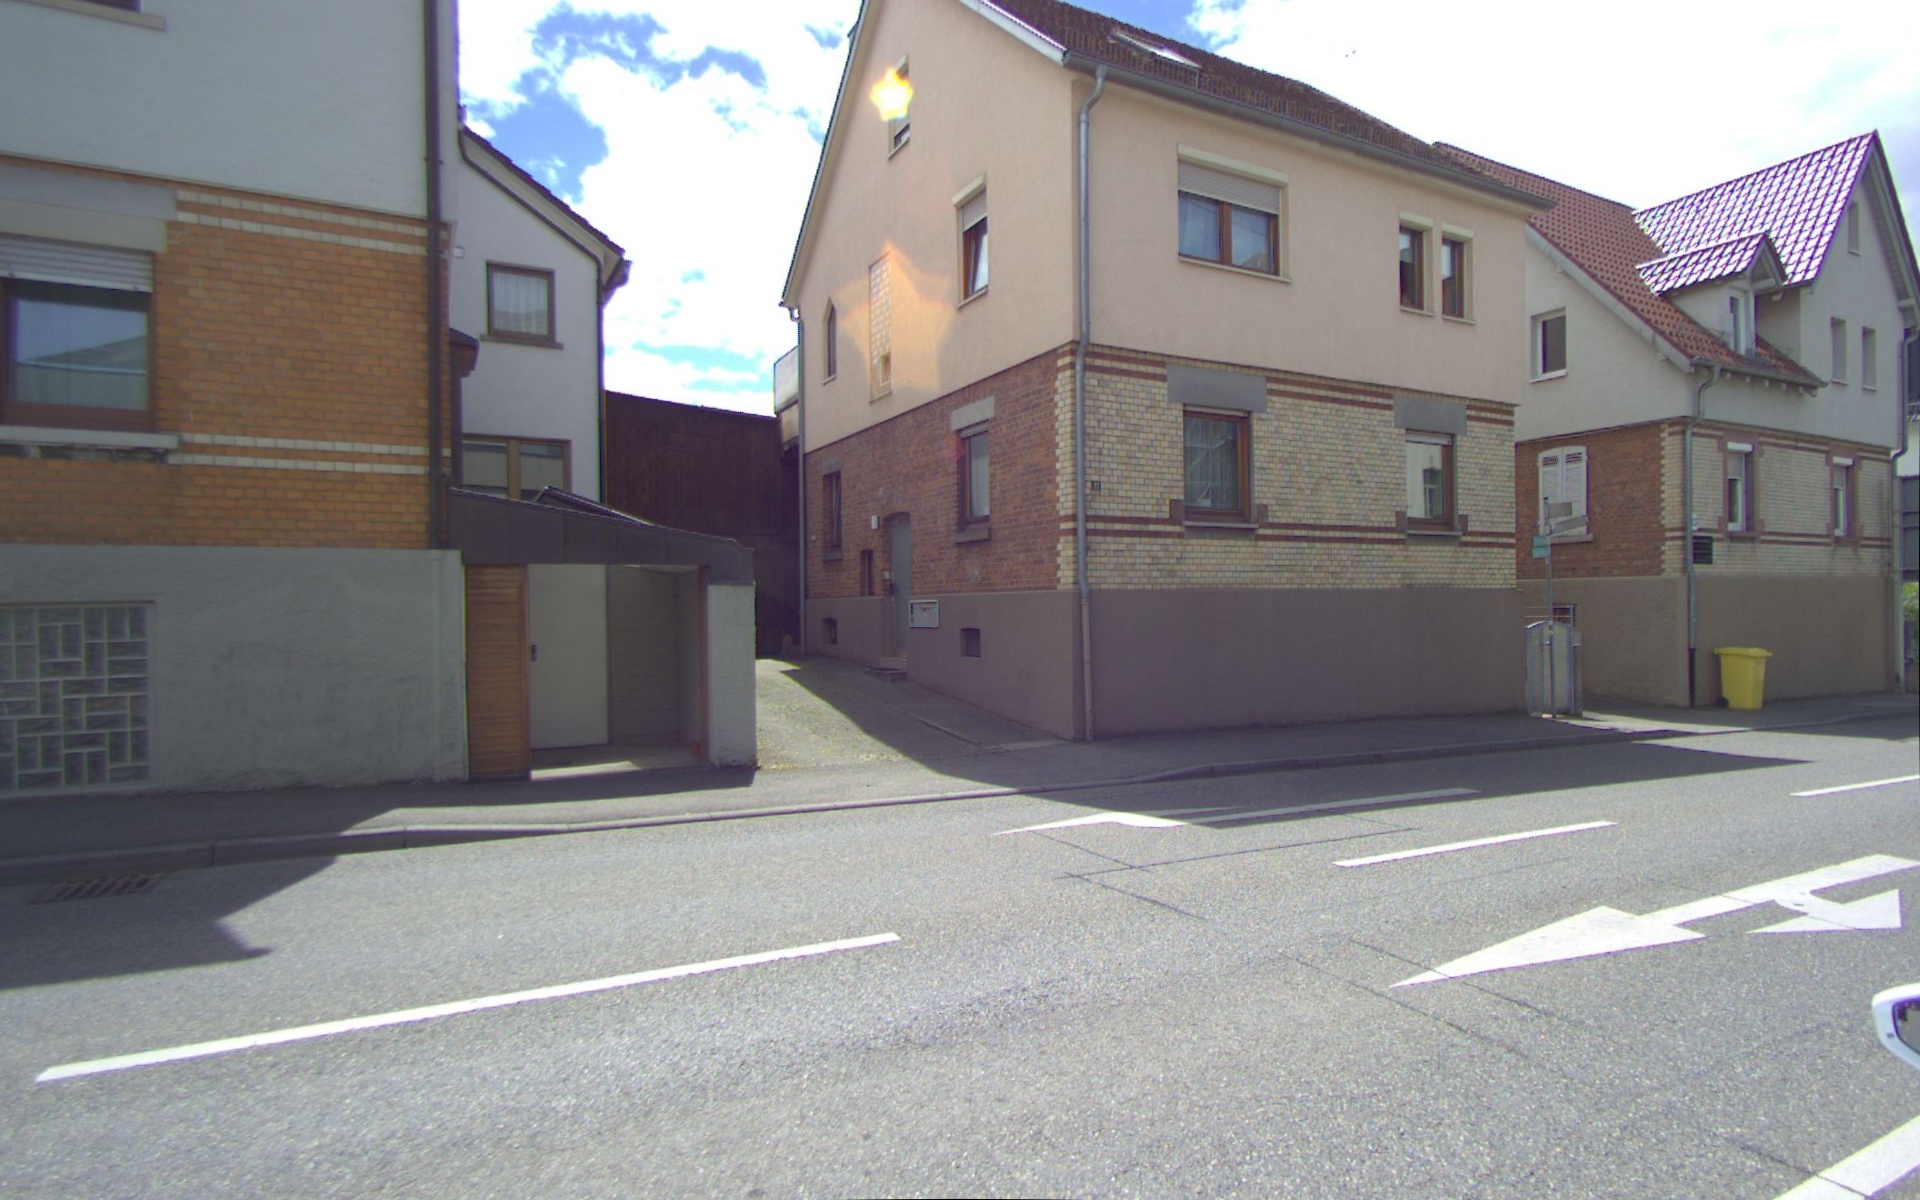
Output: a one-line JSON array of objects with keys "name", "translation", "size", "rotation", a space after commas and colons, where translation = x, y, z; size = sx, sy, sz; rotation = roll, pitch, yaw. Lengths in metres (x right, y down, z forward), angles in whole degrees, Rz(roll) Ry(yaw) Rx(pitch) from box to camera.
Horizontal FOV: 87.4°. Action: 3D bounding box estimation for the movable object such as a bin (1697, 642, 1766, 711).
[{"name": "movable object such as a bin", "translation": [13.869, 1.356, 18.067], "size": [0.794, 1.177, 0.760], "rotation": [1, -1, -31]}]
